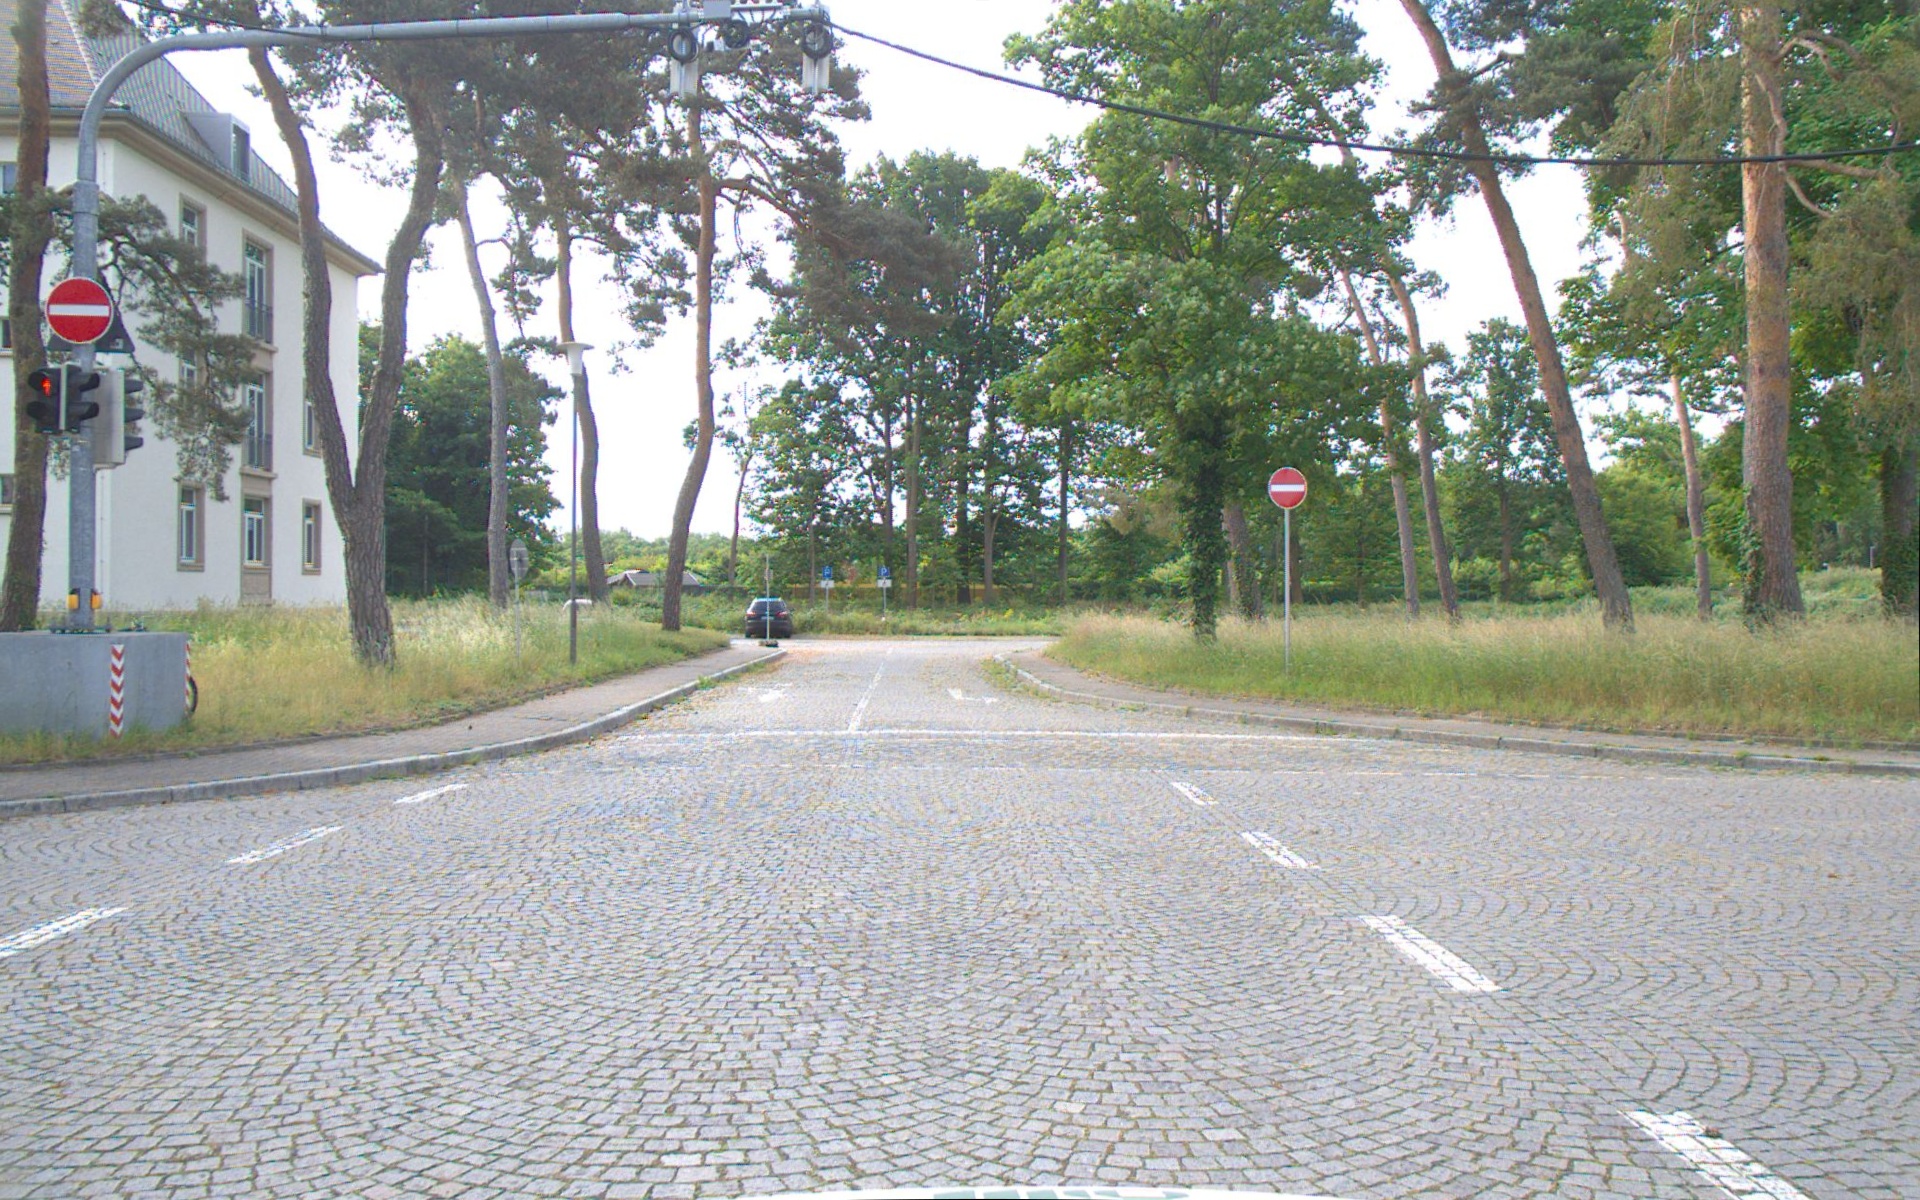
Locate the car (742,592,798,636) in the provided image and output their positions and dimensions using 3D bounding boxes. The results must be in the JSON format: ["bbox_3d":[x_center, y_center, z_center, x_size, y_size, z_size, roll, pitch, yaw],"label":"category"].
[{"bbox_3d":[-7.567,0.524,66.181,1.676,1.638,4.058,2,1,1],"label":"car"}]

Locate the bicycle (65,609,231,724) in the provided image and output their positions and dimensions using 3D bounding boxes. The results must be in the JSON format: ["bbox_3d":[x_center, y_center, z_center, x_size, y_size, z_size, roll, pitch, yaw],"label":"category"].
[{"bbox_3d":[-8.059,0.659,16.448,1.384,1.093,0.497,1,3,-5],"label":"bicycle"}]

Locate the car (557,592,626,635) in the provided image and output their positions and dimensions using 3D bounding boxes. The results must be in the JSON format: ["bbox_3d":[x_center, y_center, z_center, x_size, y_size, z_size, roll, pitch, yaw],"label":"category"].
[{"bbox_3d":[-14.811,0.514,66.597,1.675,1.638,4.059,2,1,2],"label":"car"}]
